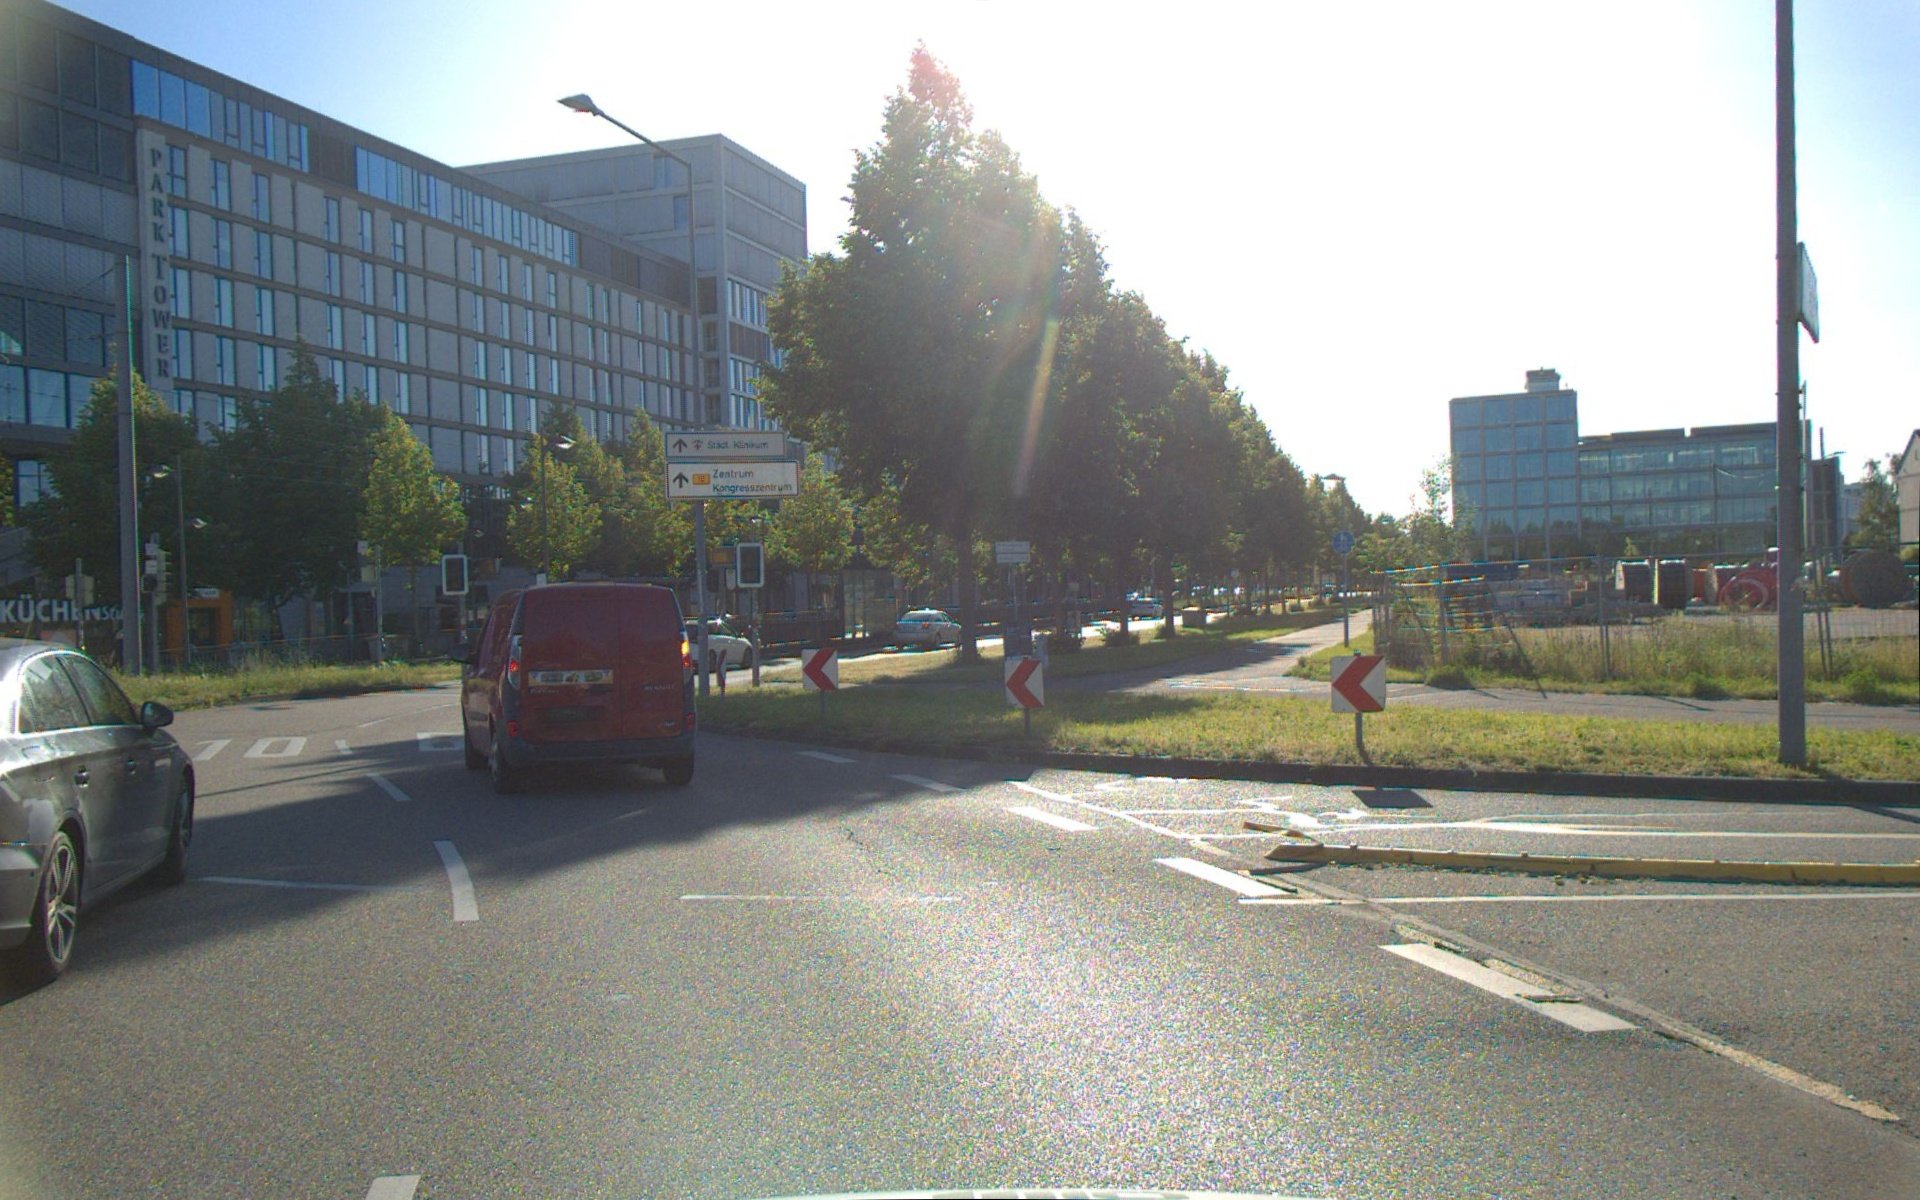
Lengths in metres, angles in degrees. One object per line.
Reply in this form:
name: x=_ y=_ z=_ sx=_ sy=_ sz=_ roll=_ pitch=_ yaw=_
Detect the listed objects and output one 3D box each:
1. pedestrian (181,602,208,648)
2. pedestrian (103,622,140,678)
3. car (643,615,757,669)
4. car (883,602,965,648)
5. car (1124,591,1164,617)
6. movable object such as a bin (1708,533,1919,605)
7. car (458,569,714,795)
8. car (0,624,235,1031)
pedestrian: x=-34.422 y=1.121 z=74.385 sx=0.624 sy=2.049 sz=0.834 roll=-1 pitch=0 yaw=19
pedestrian: x=-22.756 y=1.358 z=44.893 sx=0.542 sy=1.491 sz=0.678 roll=-1 pitch=0 yaw=15
car: x=-7.494 y=1.175 z=48.001 sx=1.764 sy=1.487 sz=3.811 roll=0 pitch=0 yaw=17
car: x=-1.414 y=0.967 z=66.339 sx=1.951 sy=1.602 sz=4.411 roll=-2 pitch=1 yaw=17
car: x=12.677 y=0.275 z=113.516 sx=1.951 sy=1.602 sz=4.411 roll=-2 pitch=1 yaw=16
movable object such as a bin: x=36.605 y=-1.317 z=71.226 sx=7.742 sy=2.831 sz=2.944 roll=-1 pitch=1 yaw=20
car: x=-3.644 y=0.718 z=15.639 sx=1.778 sy=1.845 sz=3.783 roll=0 pitch=-1 yaw=-22
car: x=-4.710 y=0.848 z=7.634 sx=1.730 sy=1.404 sz=4.343 roll=-1 pitch=0 yaw=-14
